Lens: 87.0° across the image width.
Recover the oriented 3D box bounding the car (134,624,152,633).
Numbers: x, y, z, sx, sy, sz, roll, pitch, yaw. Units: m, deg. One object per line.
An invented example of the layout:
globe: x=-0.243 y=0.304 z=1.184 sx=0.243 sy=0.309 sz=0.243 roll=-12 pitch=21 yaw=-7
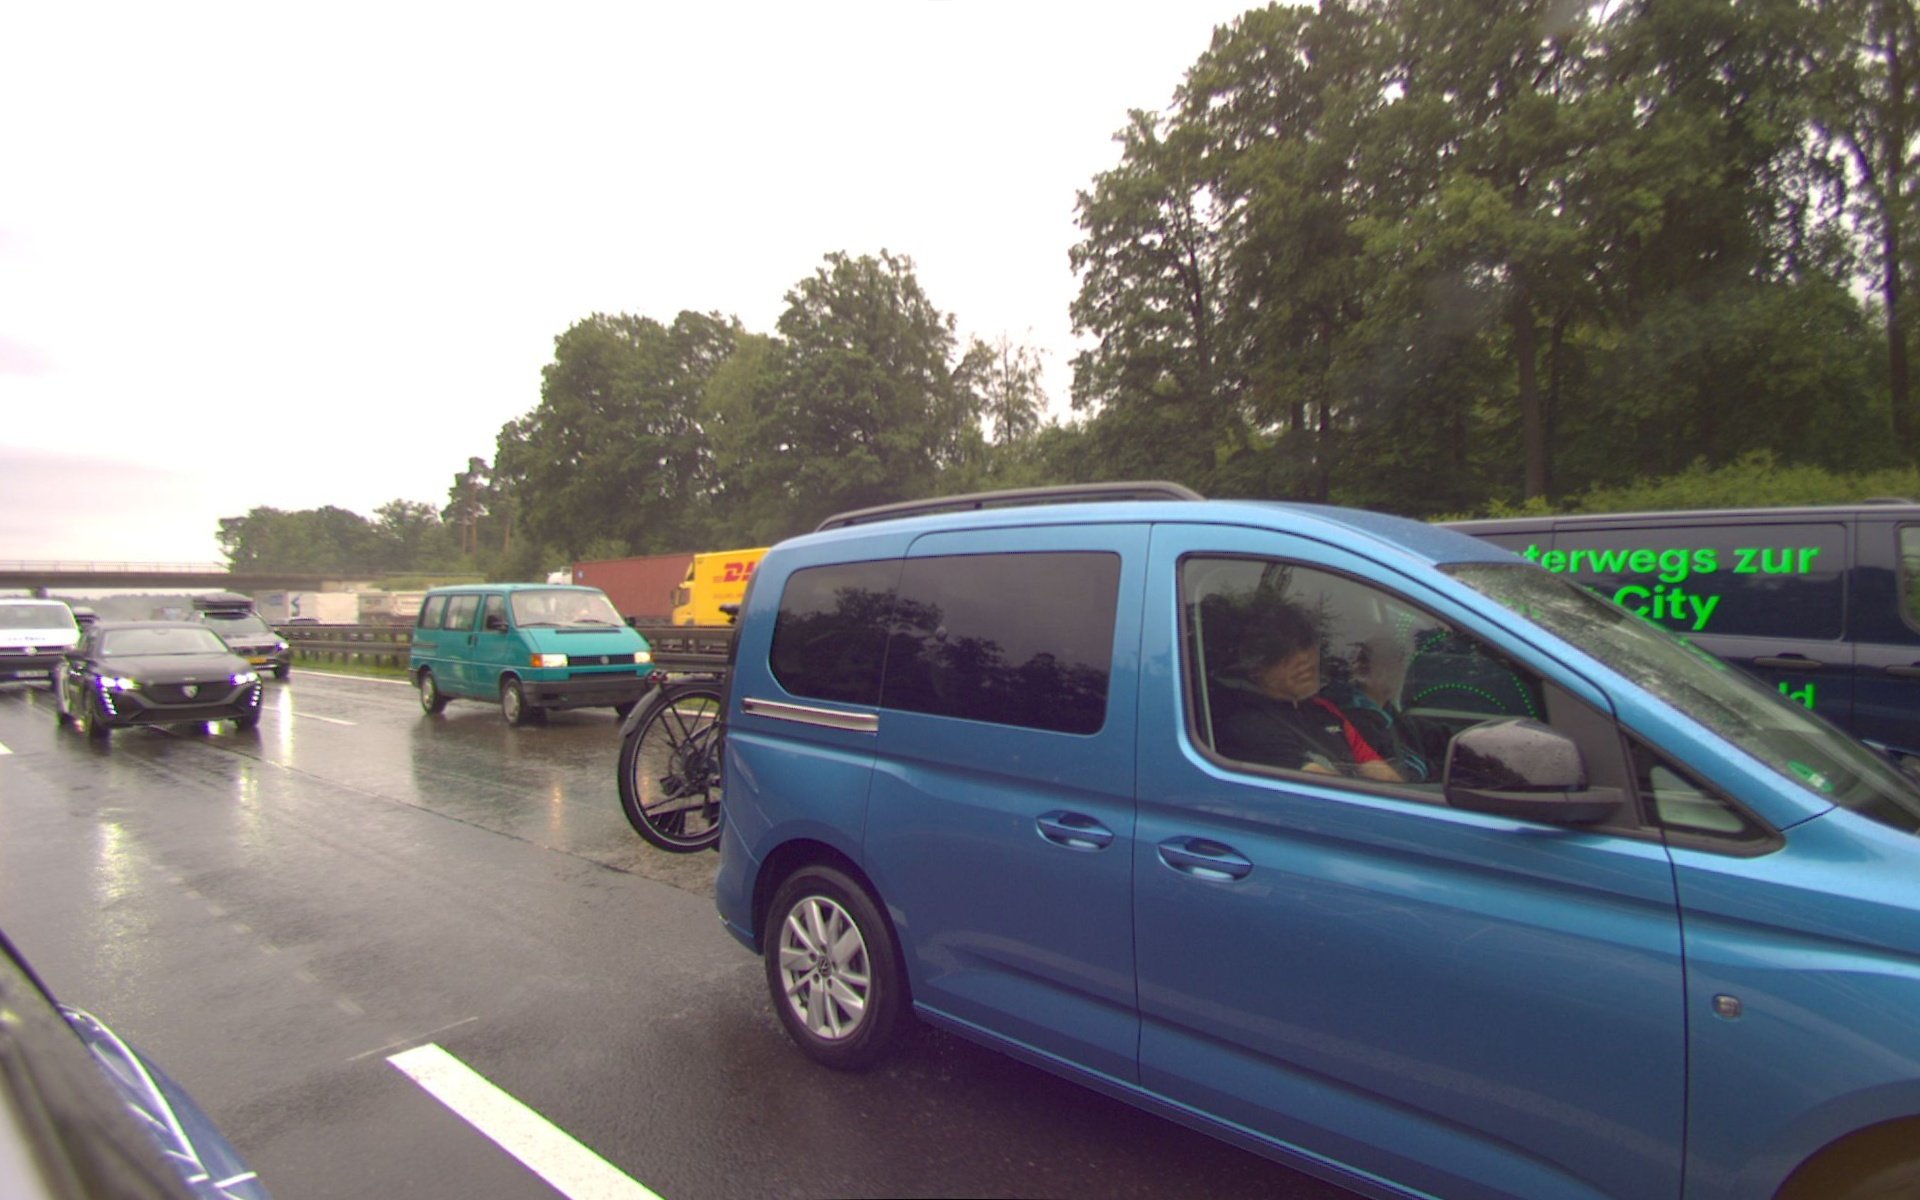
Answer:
car: x=-117.145 y=4.068 z=145.104 sx=3.758 sy=1.314 sz=1.682 roll=-2 pitch=-1 yaw=45

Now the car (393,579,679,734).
car: x=-6.224 y=0.712 z=14.558 sx=4.757 sy=1.877 sz=1.890 roll=-1 pitch=0 yaw=41

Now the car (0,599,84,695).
car: x=-20.509 y=0.983 z=21.906 sx=4.769 sy=1.894 sz=1.967 roll=-2 pitch=-1 yaw=44

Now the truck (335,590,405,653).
truck: x=-39.323 y=1.424 z=67.333 sx=6.538 sy=3.984 sz=2.350 roll=-1 pitch=-2 yaw=44

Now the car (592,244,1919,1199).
car: x=1.182 y=0.459 z=3.192 sx=5.012 sy=1.926 sz=2.246 roll=-2 pitch=-1 yaw=41

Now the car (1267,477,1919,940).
car: x=4.499 y=0.452 z=5.203 sx=5.240 sy=1.958 sz=1.971 roll=-1 pitch=0 yaw=41

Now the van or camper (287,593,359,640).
van or camper: x=-36.989 y=0.994 z=58.697 sx=6.121 sy=2.567 sz=2.173 roll=-2 pitch=-2 yaw=44

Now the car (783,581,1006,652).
car: x=-1.486 y=0.353 z=21.564 sx=4.844 sy=1.355 sz=1.784 roll=-1 pitch=-1 yaw=39

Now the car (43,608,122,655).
car: x=-36.999 y=1.285 z=42.625 sx=4.605 sy=1.839 sz=1.956 roll=-1 pitch=0 yaw=42

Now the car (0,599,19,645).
car: x=-34.706 y=0.809 z=35.677 sx=4.768 sy=1.572 sz=1.968 roll=-2 pitch=-1 yaw=44

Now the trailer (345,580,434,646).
trailer: x=-36.597 y=0.872 z=64.700 sx=9.424 sy=3.984 sz=2.350 roll=-1 pitch=-2 yaw=44

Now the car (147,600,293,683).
car: x=-18.384 y=0.975 z=25.062 sx=4.604 sy=1.839 sz=1.956 roll=-1 pitch=0 yaw=41

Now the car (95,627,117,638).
car: x=-126.656 y=4.852 z=150.002 sx=4.707 sy=1.519 sz=1.971 roll=-2 pitch=-2 yaw=43

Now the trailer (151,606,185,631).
trailer: x=-125.833 y=2.991 z=160.719 sx=2.989 sy=3.847 sz=13.571 roll=0 pitch=-1 yaw=-44

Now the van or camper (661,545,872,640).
van or camper: x=-7.105 y=-0.192 z=36.059 sx=8.788 sy=3.001 sz=2.810 roll=-1 pitch=0 yaw=44

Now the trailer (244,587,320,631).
trailer: x=-64.986 y=0.937 z=96.813 sx=13.957 sy=3.984 sz=2.690 roll=-1 pitch=-2 yaw=42

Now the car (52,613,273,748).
car: x=-10.975 y=0.944 z=13.796 sx=4.468 sy=1.516 sz=1.825 roll=-1 pitch=0 yaw=45

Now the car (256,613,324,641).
car: x=-32.093 y=1.299 z=48.445 sx=4.206 sy=1.228 sz=1.679 roll=-2 pitch=-1 yaw=42

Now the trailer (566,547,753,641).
trailer: x=-14.783 y=-0.193 z=48.790 sx=12.371 sy=4.056 sz=2.591 roll=-1 pitch=0 yaw=42

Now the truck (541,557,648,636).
truck: x=-19.151 y=-0.117 z=52.825 sx=6.264 sy=3.847 sz=2.674 roll=-2 pitch=-1 yaw=43
